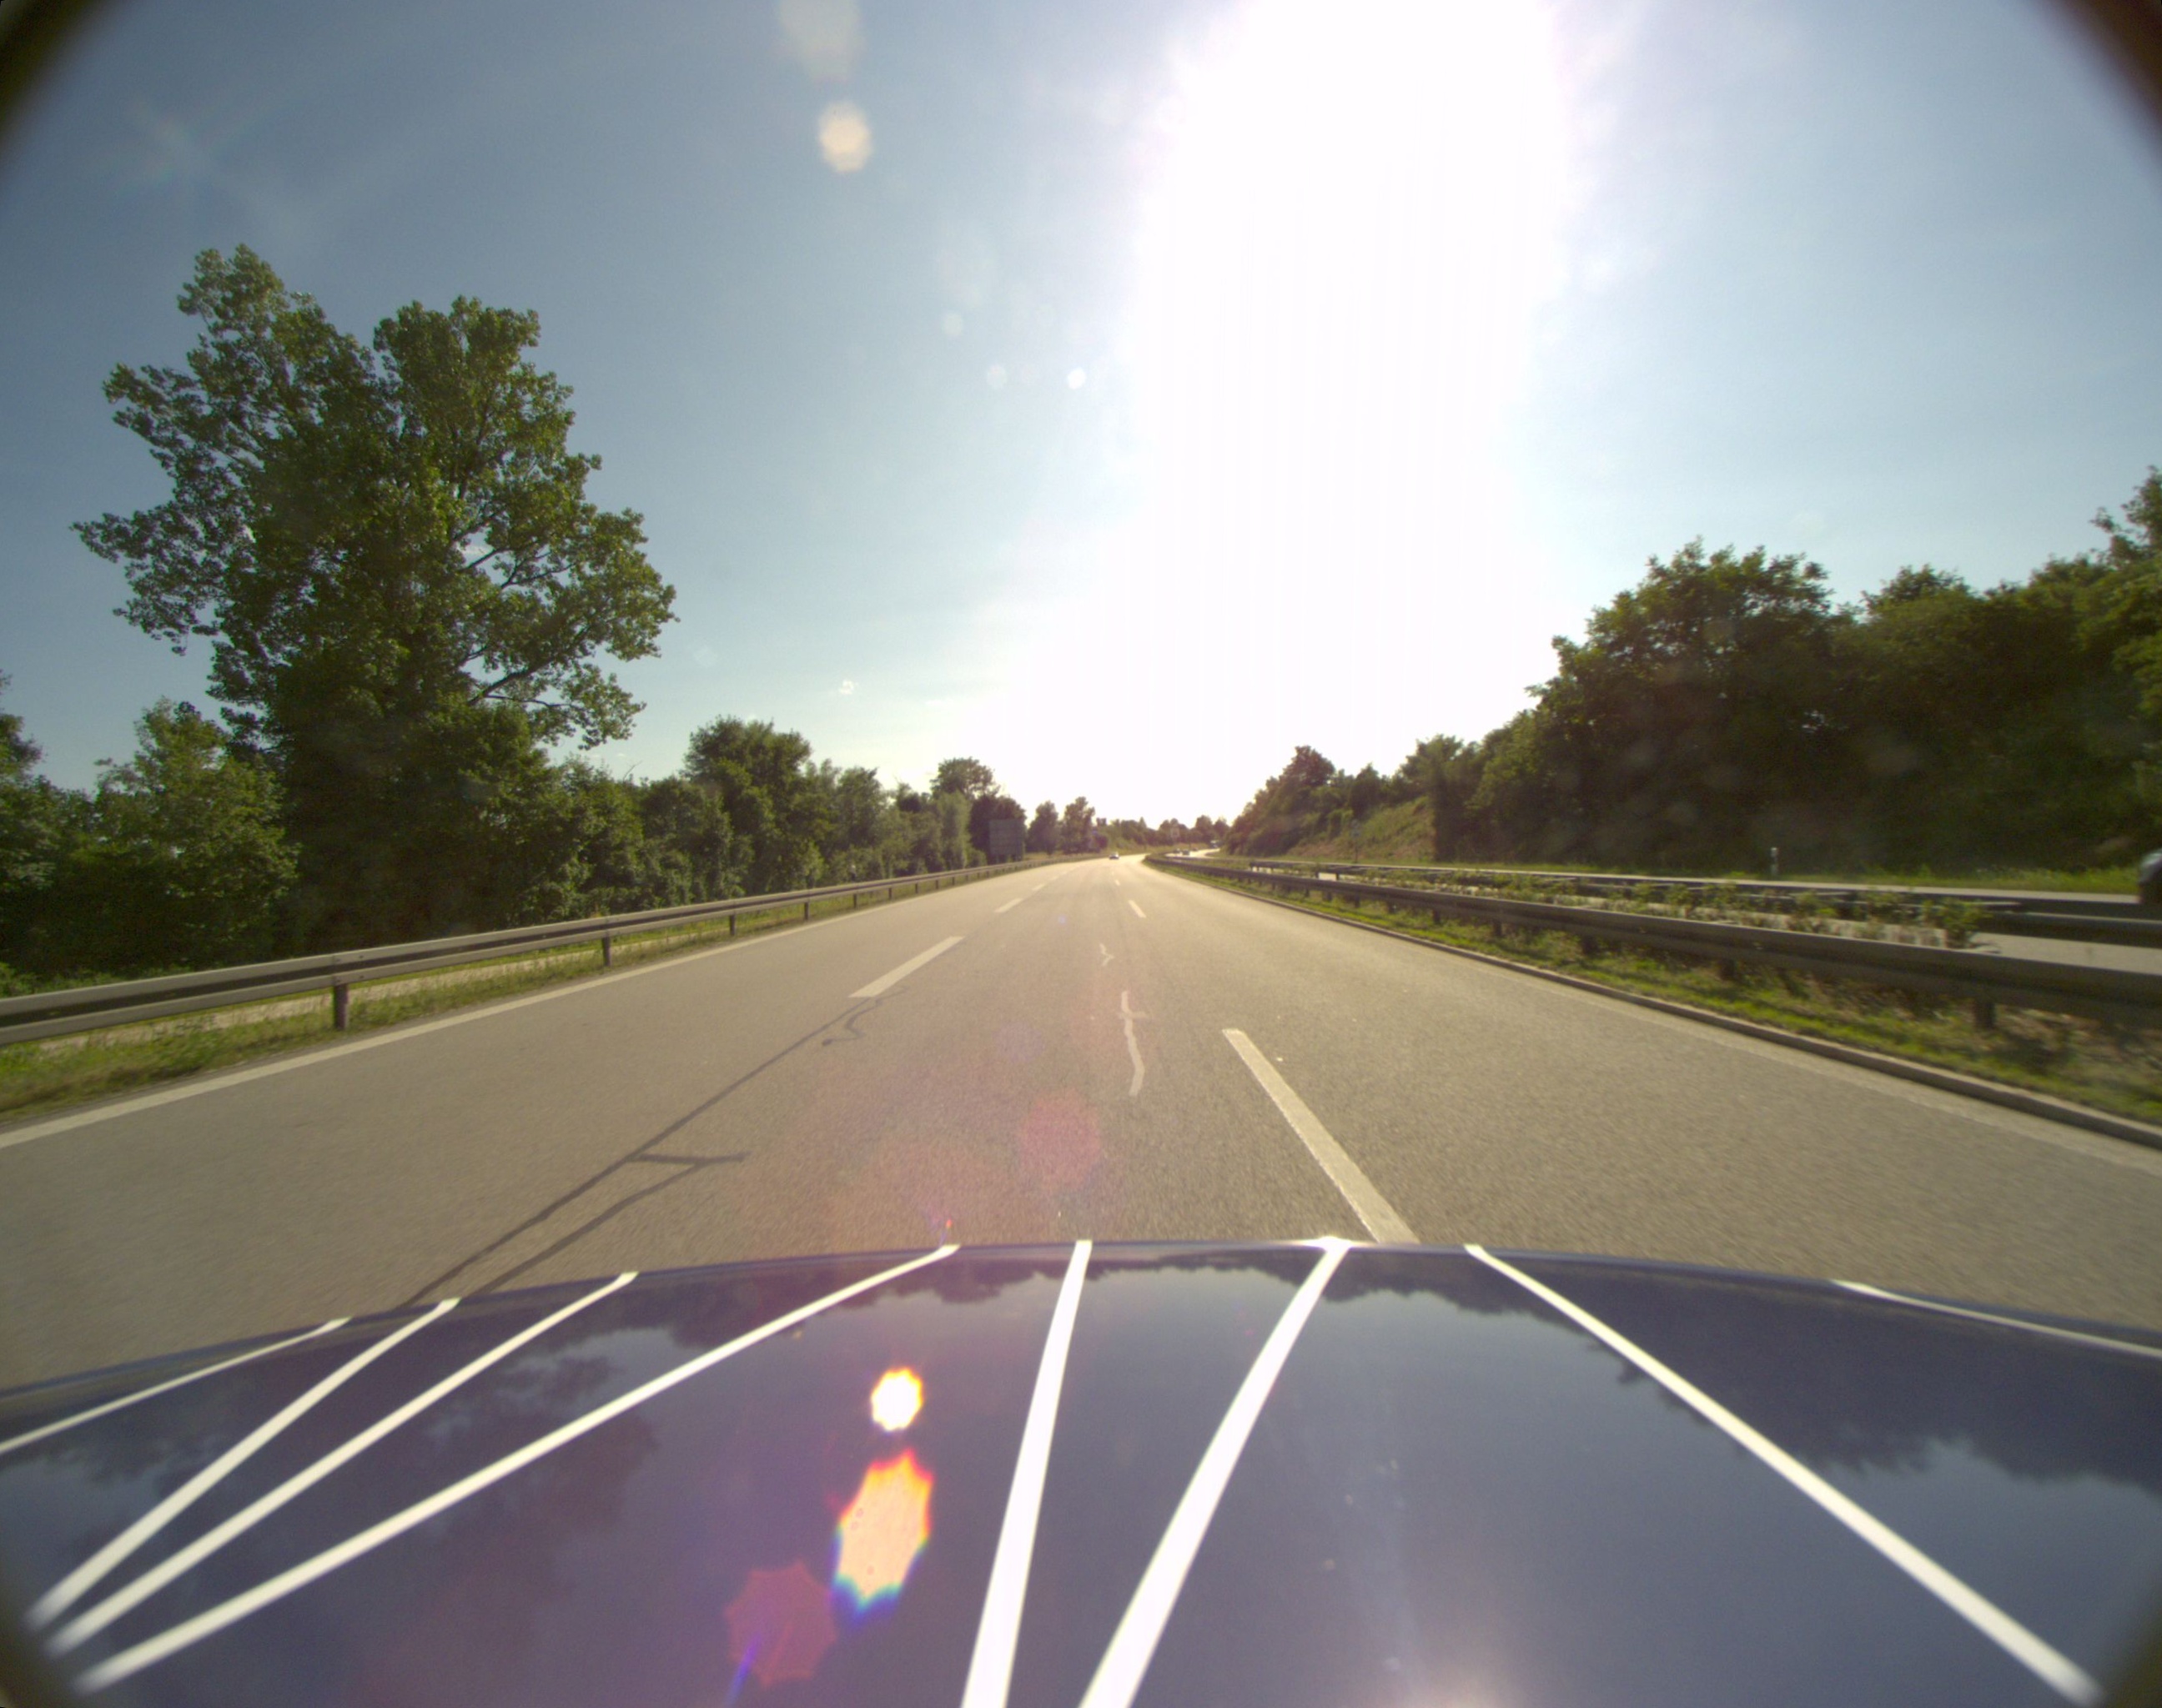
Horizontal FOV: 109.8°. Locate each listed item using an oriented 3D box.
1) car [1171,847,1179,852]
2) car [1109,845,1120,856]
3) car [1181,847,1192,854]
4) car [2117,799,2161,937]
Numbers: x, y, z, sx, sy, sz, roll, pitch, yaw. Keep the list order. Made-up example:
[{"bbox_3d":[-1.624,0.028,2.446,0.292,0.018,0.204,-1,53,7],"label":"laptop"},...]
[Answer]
[{"bbox_3d":[26.663,-1.233,216.184,1.998,1.536,4.676,0,1,3],"label":"car"},{"bbox_3d":[6.717,-0.702,150.768,1.998,2.002,4.600,-3,1,3],"label":"car"},{"bbox_3d":[23.963,-0.821,172.519,1.844,1.430,4.413,-2,0,2],"label":"car"},{"bbox_3d":[13.751,0.175,6.827,1.998,1.635,5.083,-2,1,1],"label":"car"}]
